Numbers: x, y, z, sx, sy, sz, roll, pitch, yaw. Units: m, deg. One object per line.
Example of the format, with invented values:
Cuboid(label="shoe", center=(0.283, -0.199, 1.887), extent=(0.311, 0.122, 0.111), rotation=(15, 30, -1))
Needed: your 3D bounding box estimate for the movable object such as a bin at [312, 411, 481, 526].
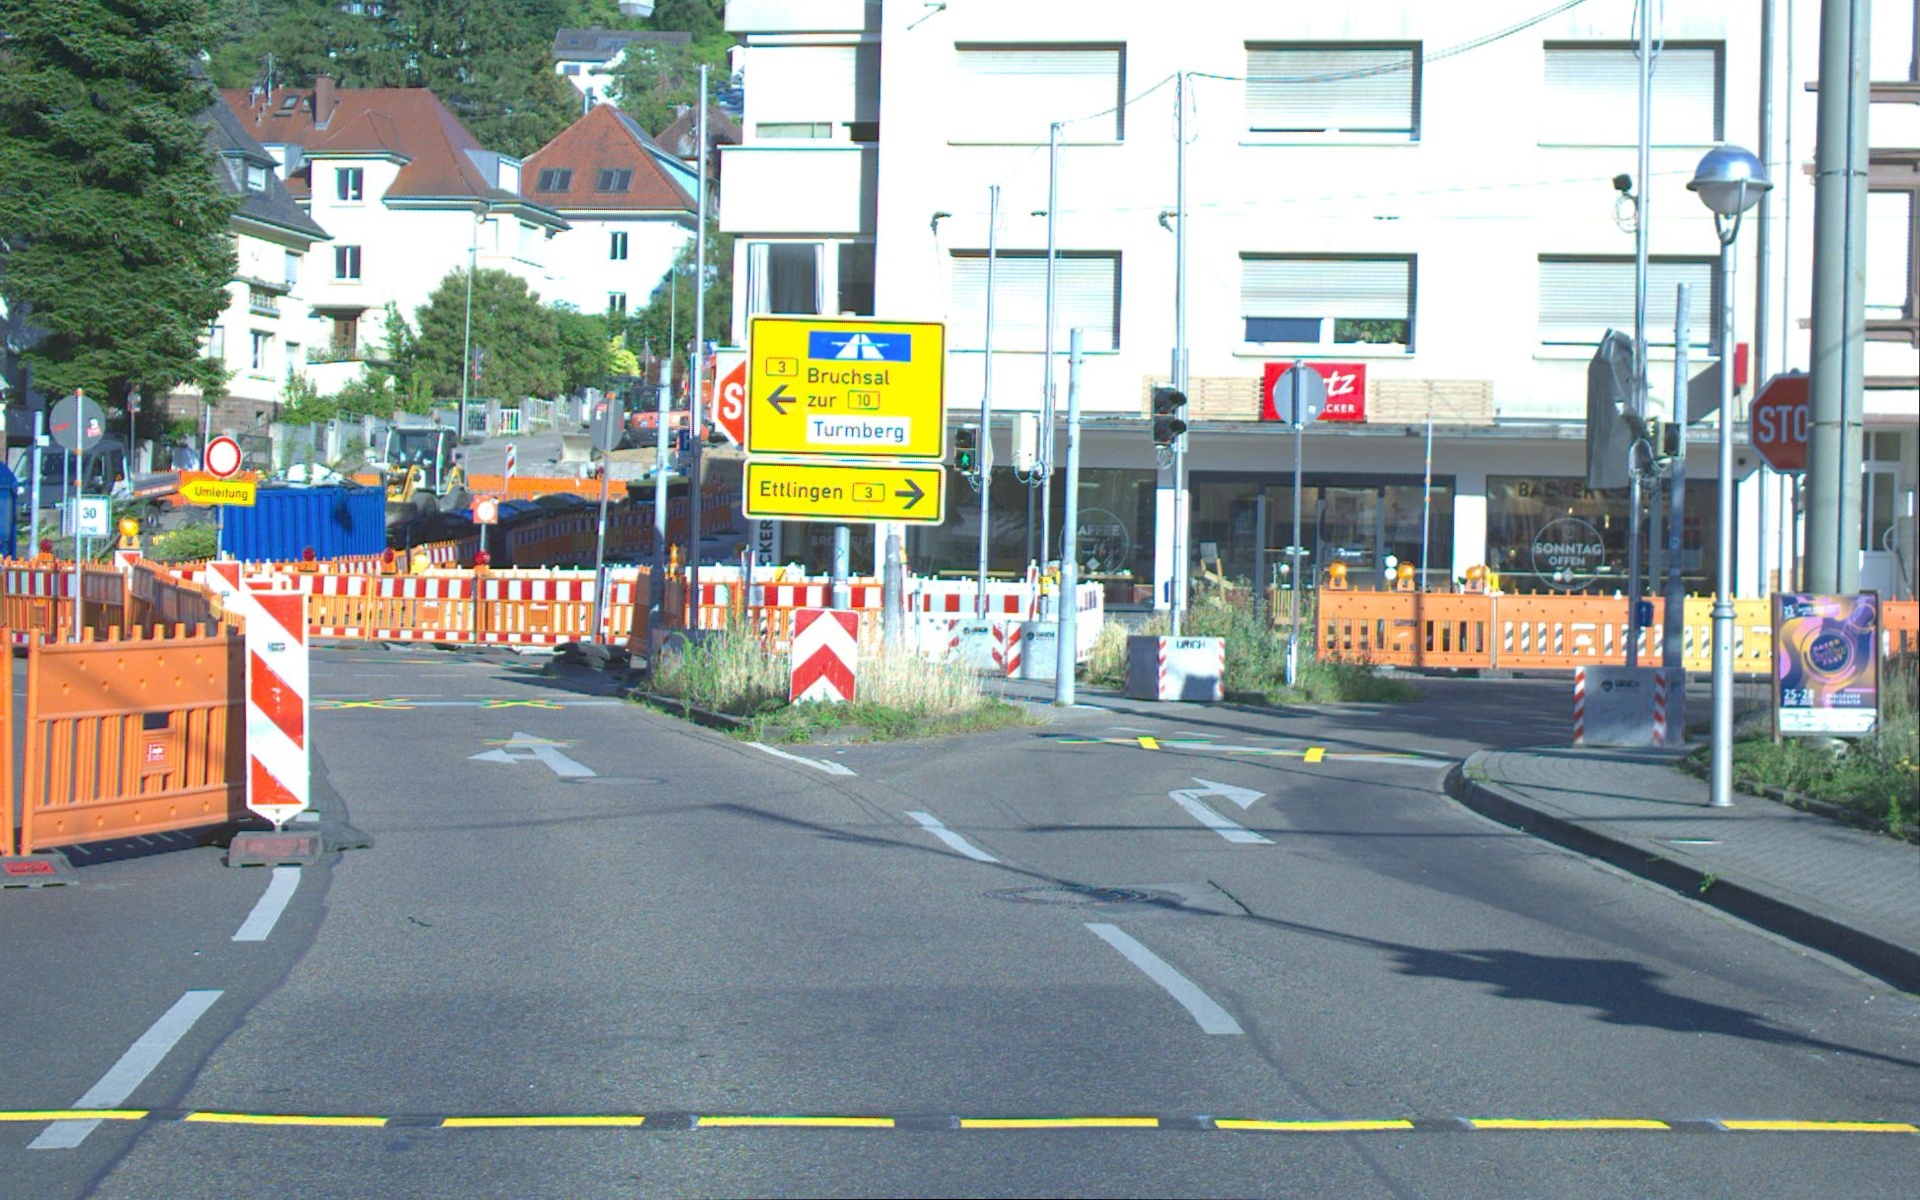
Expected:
Cuboid(label="movable object such as a bin", center=(-12.892, -2.982, 78.944), extent=(1.950, 2.486, 4.547), rotation=(1, 1, 18))

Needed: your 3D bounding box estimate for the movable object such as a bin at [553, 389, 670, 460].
Cuboid(label="movable object such as a bin", center=(-11.596, -5.828, 114.838), extent=(2.566, 2.114, 5.782), rotation=(1, 1, 8))

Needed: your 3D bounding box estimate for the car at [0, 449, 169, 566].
Cuboid(label="car", center=(-17.963, -1.748, 66.115), extent=(2.585, 2.113, 6.145), rotation=(1, 1, 18))
